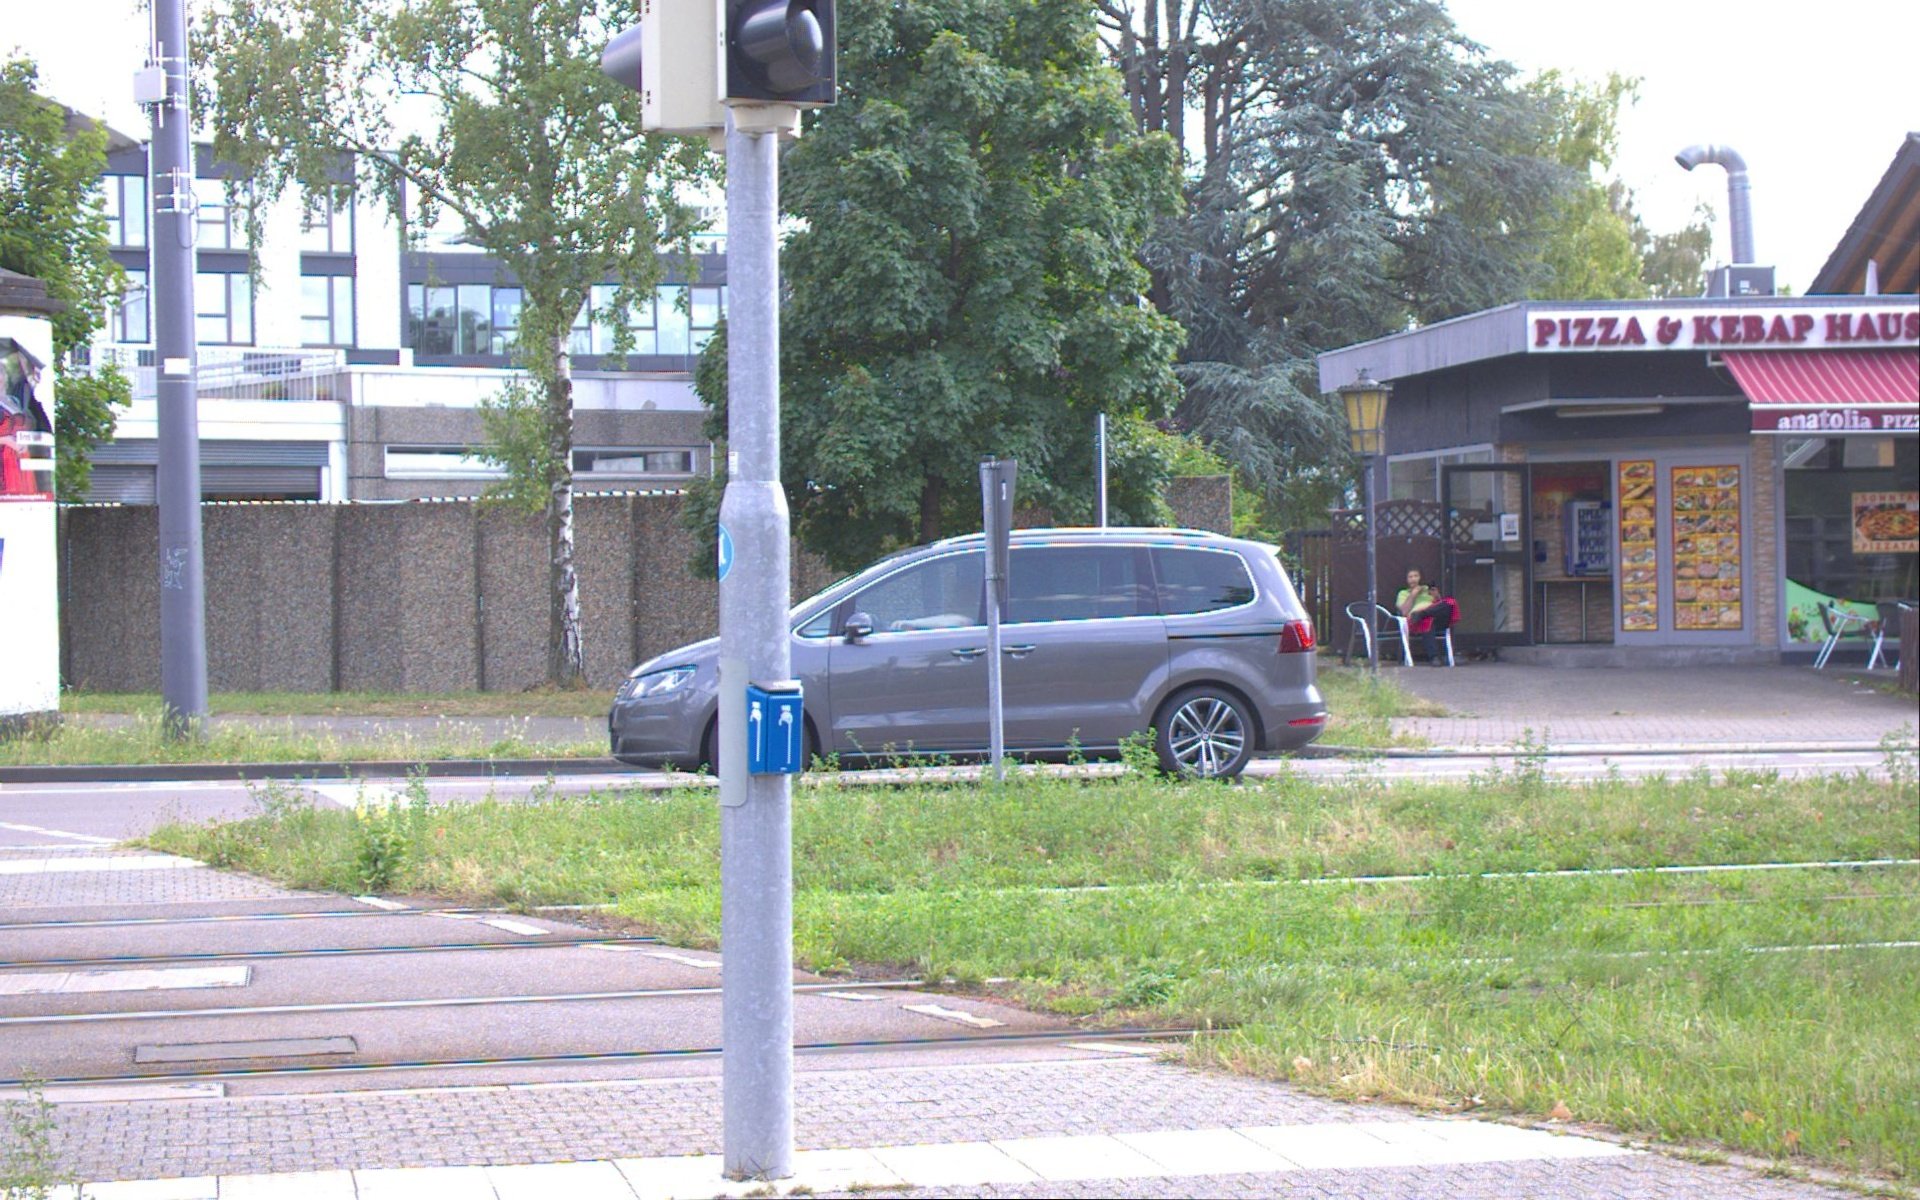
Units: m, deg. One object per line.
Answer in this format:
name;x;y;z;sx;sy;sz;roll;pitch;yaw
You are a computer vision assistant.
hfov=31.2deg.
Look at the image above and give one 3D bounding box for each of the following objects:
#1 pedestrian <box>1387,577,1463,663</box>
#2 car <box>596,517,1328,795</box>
pedestrian;5.230;0.224;38.682;0.725;0.926;0.777;0;2;-2
car;-0.062;0.340;23.207;4.724;1.716;2.000;-1;1;-6
